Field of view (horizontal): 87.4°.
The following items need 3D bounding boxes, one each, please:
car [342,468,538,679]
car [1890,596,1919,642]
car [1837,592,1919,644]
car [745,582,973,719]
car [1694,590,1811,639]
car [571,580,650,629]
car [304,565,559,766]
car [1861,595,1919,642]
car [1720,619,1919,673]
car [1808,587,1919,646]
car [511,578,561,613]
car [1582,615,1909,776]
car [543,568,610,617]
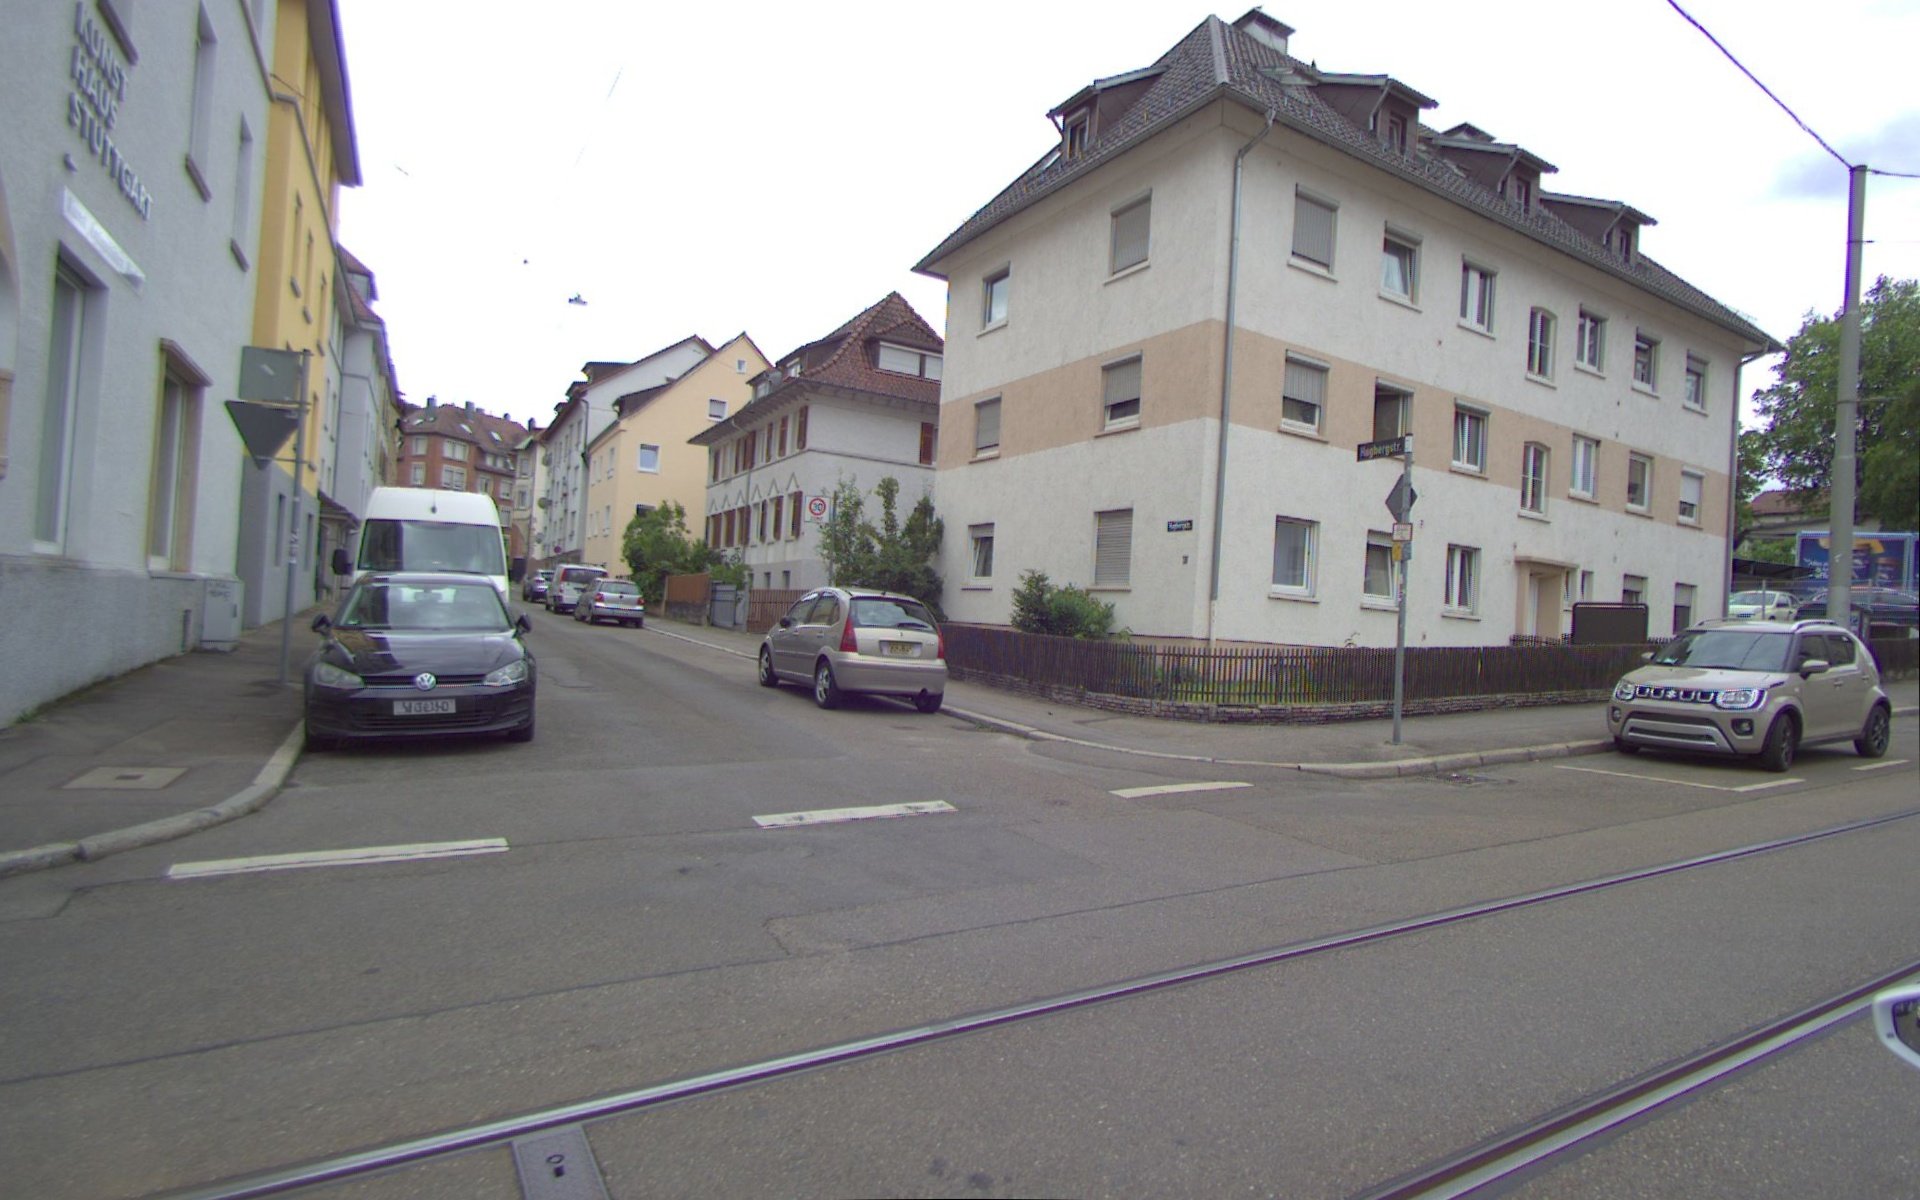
[{"bbox_3d":[-7.990,-0.368,15.460,2.164,2.566,6.166,1,1,-28],"label":"car"},{"bbox_3d":[33.235,0.660,32.703,1.668,1.514,4.040,1,1,-30],"label":"car"},{"bbox_3d":[29.175,0.545,30.101,1.719,1.544,4.040,1,1,-30],"label":"car"},{"bbox_3d":[-1.513,0.618,13.844,1.757,1.511,3.498,7,-2,-29],"label":"car"},{"bbox_3d":[25.912,0.475,32.831,3.842,1.514,1.675,1,1,-30],"label":"car"},{"bbox_3d":[-11.204,0.122,32.091,1.688,1.370,3.661,4,0,-29],"label":"car"},{"bbox_3d":[-5.000,0.459,9.585,1.732,1.483,3.970,1,1,-28],"label":"car"},{"bbox_3d":[31.151,0.606,31.481,1.668,1.464,4.040,1,1,-30],"label":"car"},{"bbox_3d":[24.158,1.329,28.021,1.839,1.363,4.319,1,-4,-30],"label":"car"},{"bbox_3d":[27.138,0.489,28.738,1.668,1.573,4.039,1,2,-30],"label":"car"},{"bbox_3d":[-20.581,-0.226,48.642,1.757,1.483,3.661,4,0,-30],"label":"car"},{"bbox_3d":[9.243,0.992,11.776,3.803,1.577,1.689,1,0,-29],"label":"car"},{"bbox_3d":[-14.653,-0.313,38.263,1.757,1.698,3.859,4,0,-29],"label":"car"}]
